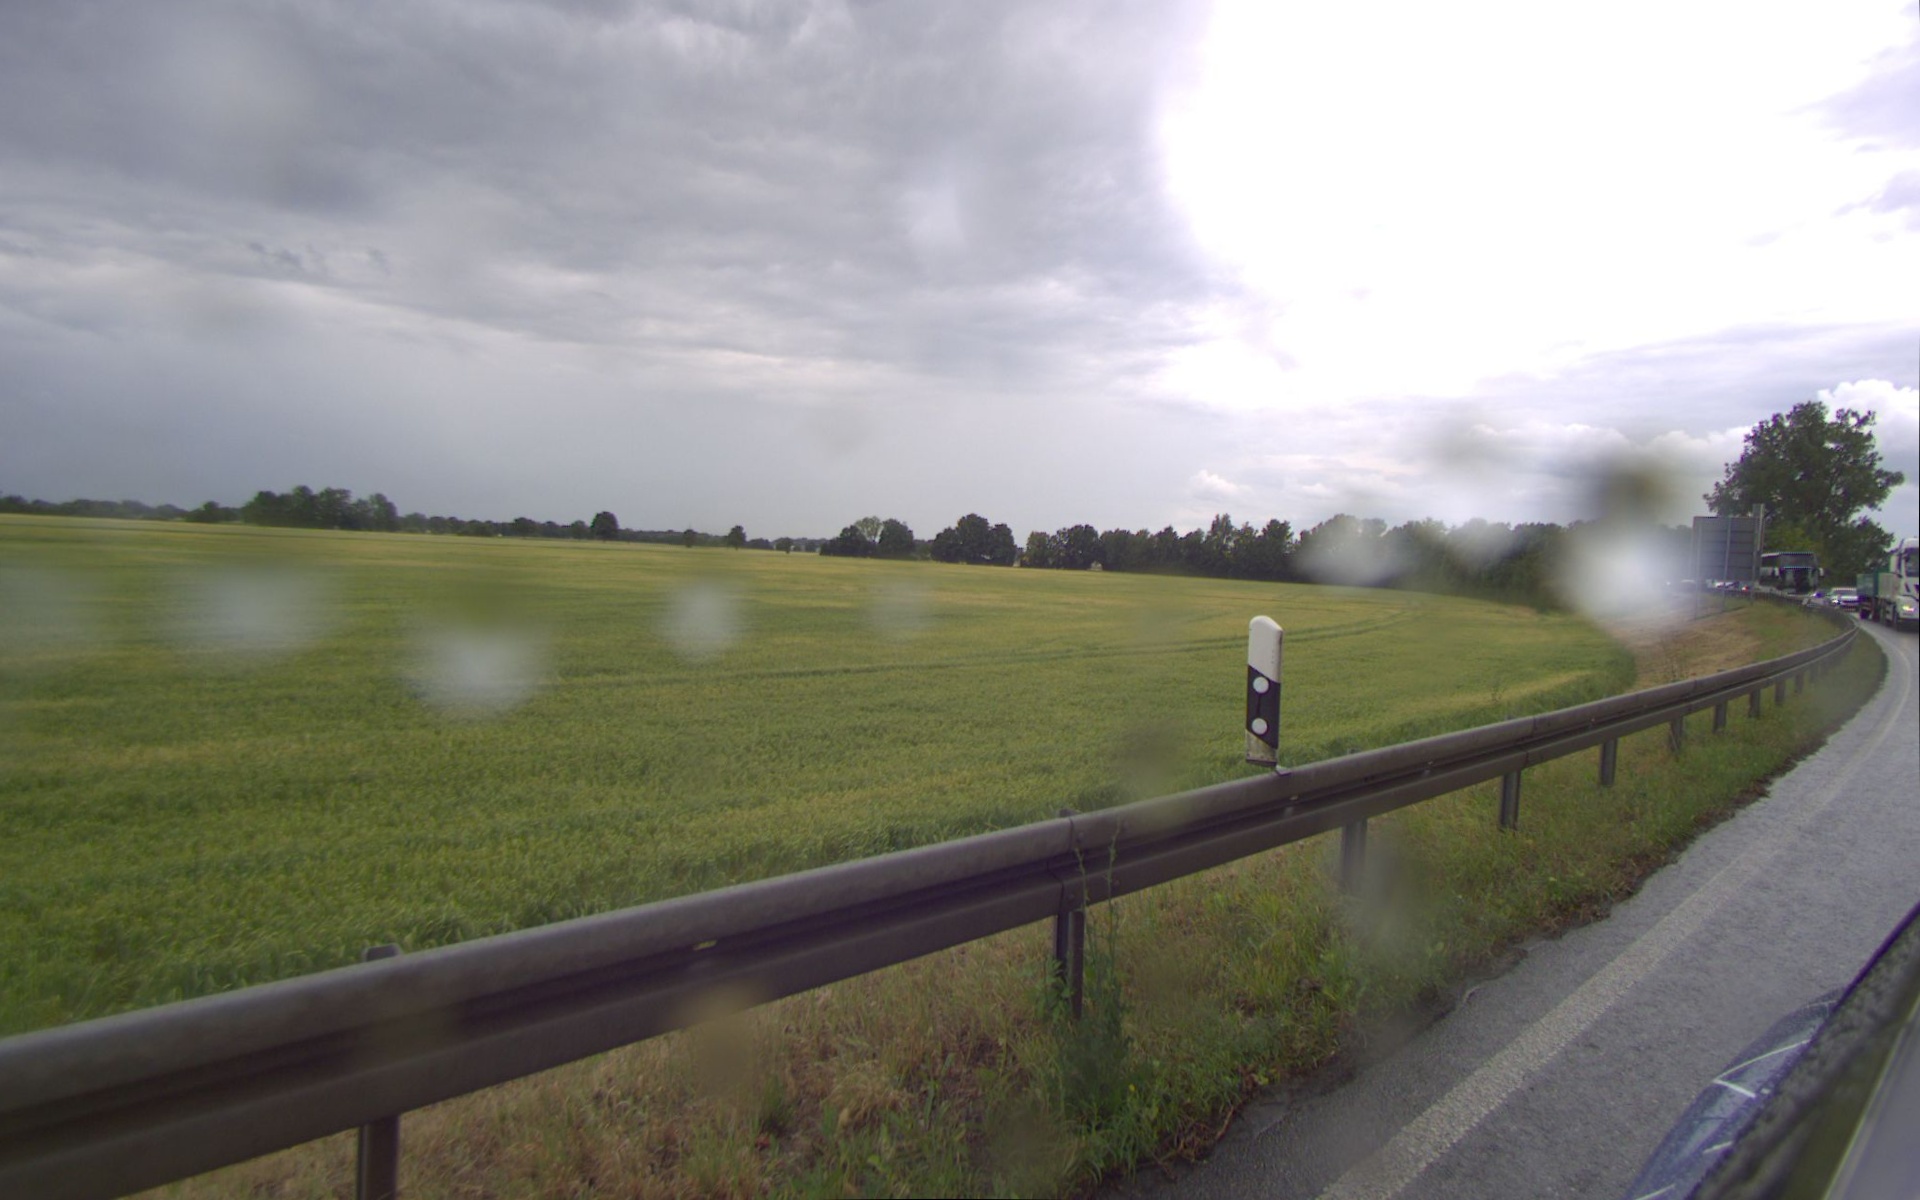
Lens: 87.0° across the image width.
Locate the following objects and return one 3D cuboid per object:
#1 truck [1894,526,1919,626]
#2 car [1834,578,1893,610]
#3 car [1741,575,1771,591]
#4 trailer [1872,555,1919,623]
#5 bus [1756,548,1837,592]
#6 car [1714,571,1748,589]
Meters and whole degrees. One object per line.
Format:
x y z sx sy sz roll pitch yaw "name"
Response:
37.899 -0.917 38.608 2.971 3.655 5.994 0 1 39 "truck"
55.905 -0.409 62.706 2.029 1.866 5.271 0 1 34 "car"
79.503 -1.694 101.171 1.800 1.597 3.957 0 1 30 "car"
43.221 -0.538 45.142 2.971 2.666 15.460 0 1 39 "trailer"
70.315 -2.525 85.398 2.941 3.353 14.679 0 1 31 "bus"
86.360 -2.221 113.412 1.980 2.039 5.289 0 1 26 "car"
